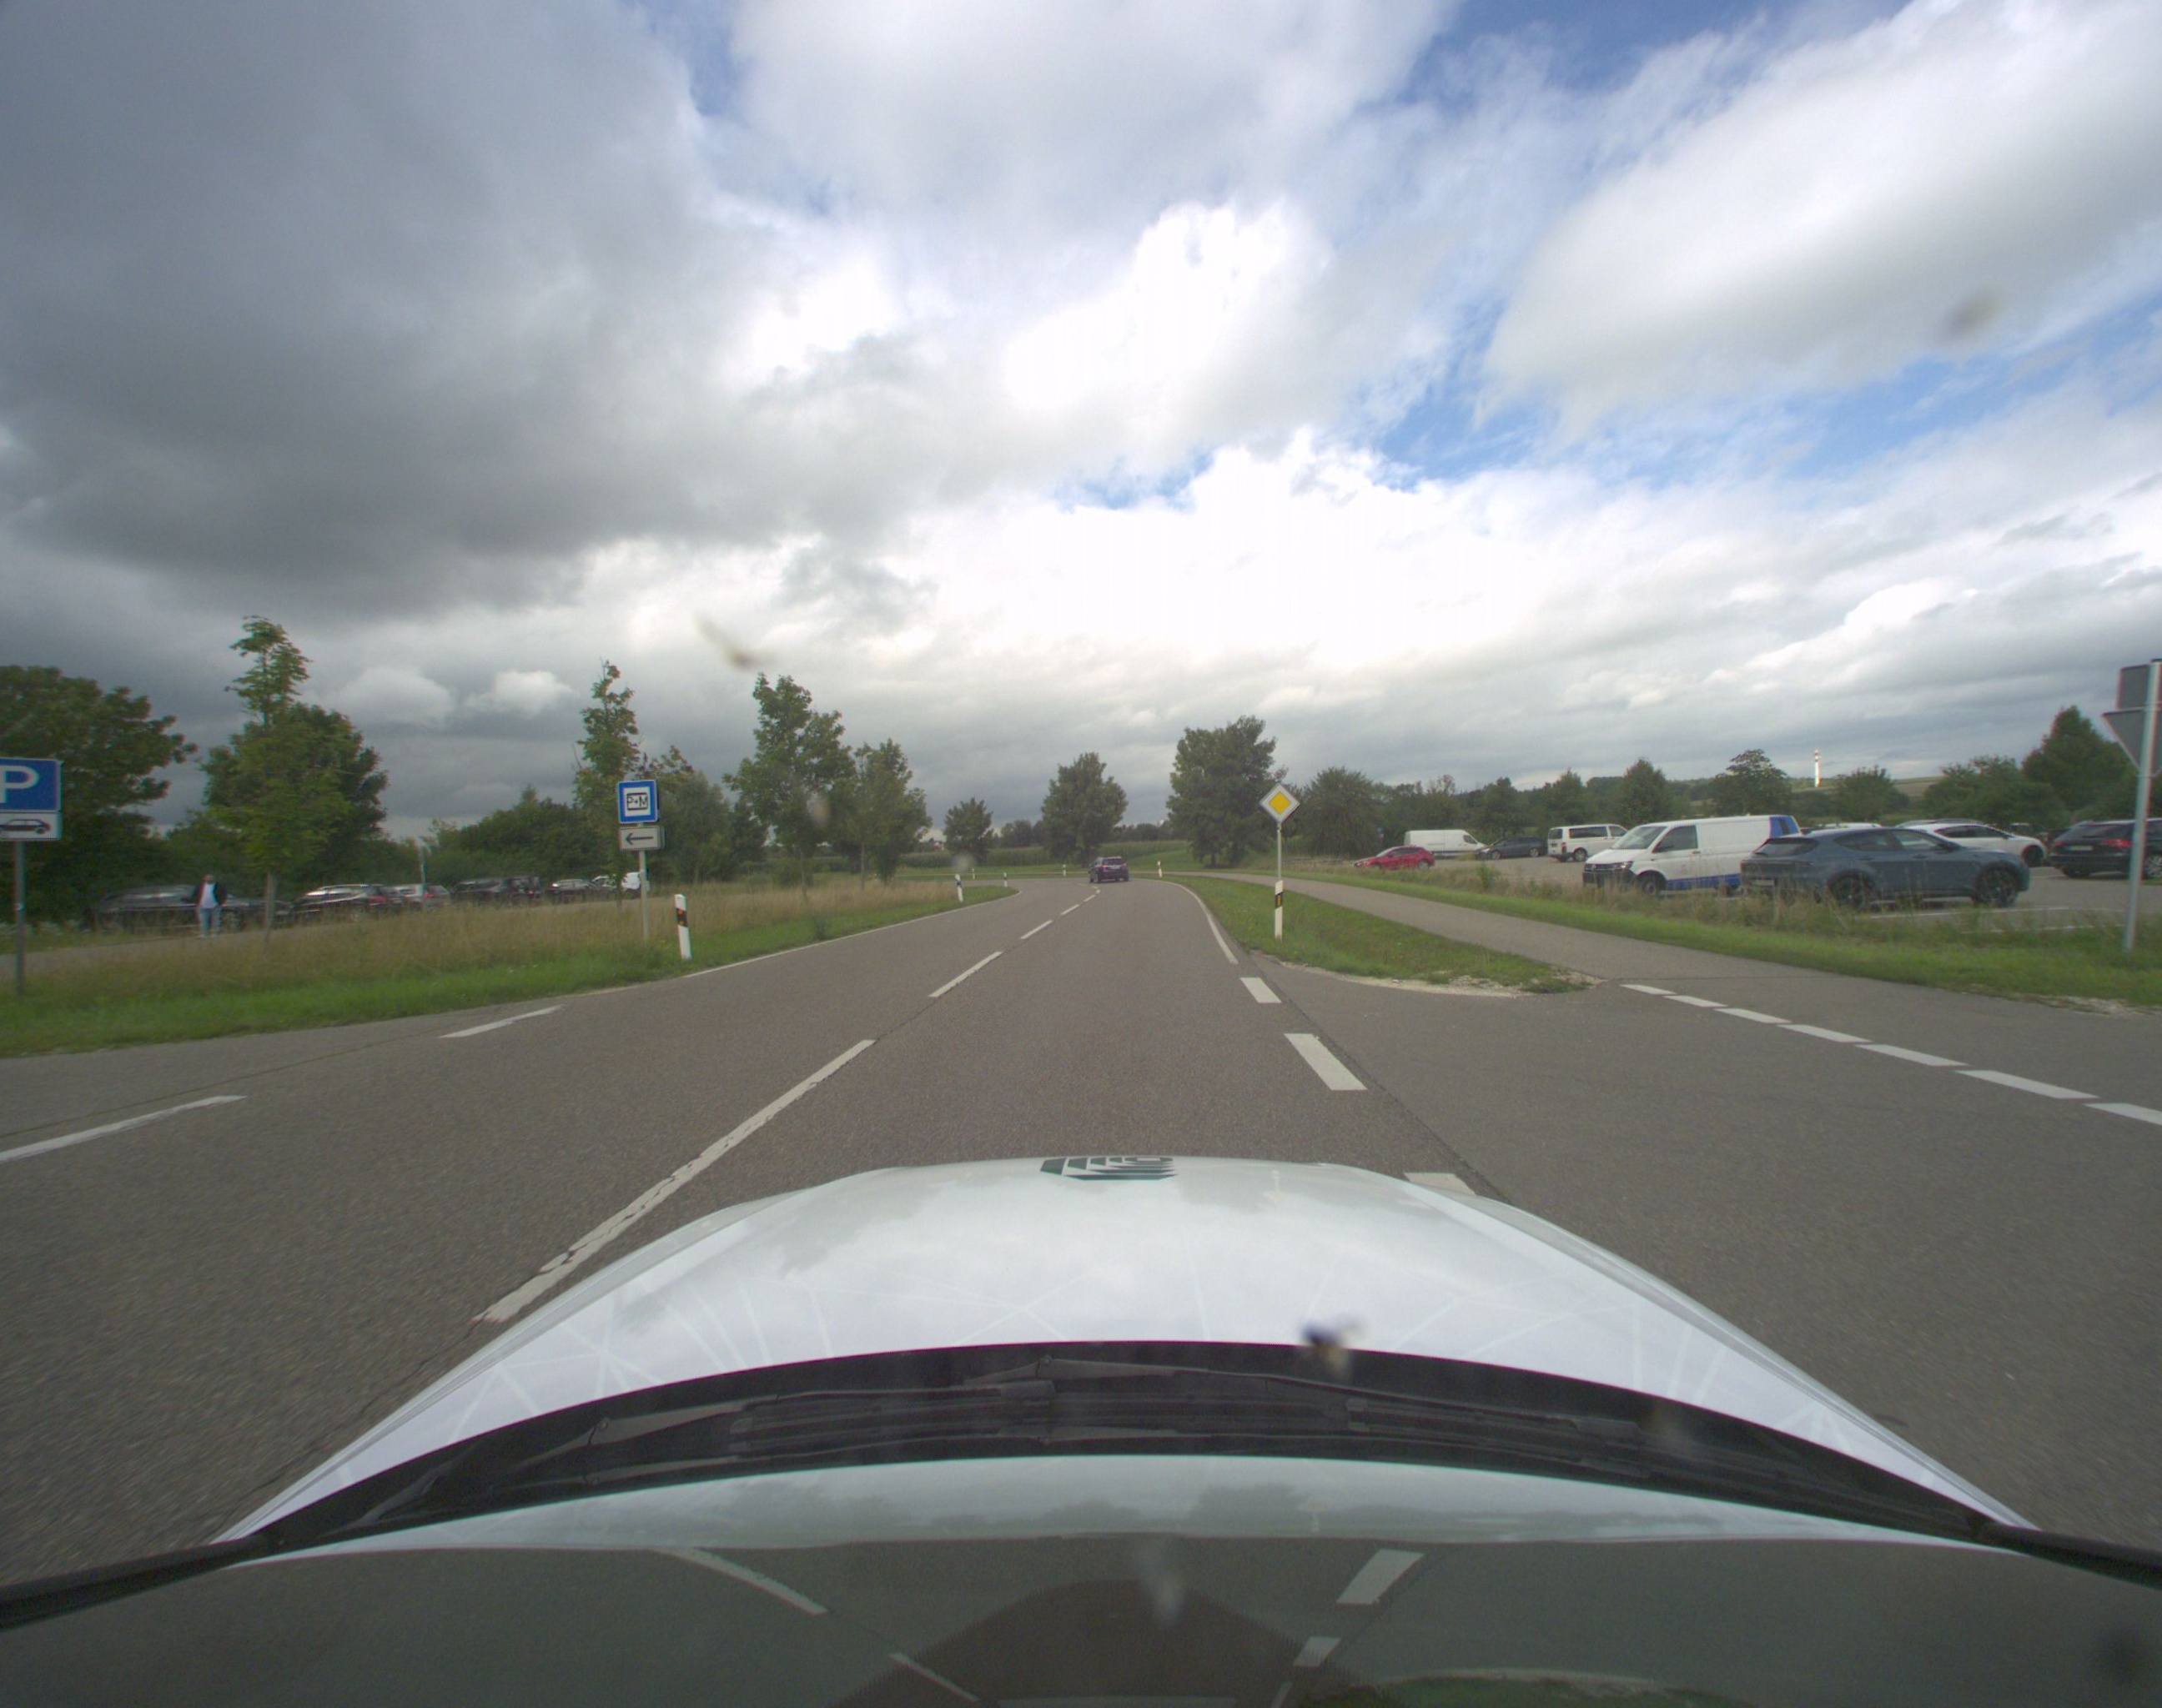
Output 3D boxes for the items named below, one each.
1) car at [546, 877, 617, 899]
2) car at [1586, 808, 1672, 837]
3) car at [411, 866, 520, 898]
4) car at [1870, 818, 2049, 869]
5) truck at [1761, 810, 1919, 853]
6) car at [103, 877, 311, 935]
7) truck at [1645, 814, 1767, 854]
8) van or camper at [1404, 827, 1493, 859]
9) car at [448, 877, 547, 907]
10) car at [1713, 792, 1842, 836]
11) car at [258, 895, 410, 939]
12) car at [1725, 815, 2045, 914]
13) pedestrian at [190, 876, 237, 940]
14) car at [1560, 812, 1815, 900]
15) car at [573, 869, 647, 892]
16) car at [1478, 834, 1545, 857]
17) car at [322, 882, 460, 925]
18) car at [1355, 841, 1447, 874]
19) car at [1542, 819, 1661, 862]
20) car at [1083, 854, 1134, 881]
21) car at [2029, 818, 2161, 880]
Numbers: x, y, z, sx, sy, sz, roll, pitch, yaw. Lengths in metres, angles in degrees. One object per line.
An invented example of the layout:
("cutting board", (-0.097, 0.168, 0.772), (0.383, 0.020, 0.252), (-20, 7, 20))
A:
("car", (-31.903, 2.160, 52.063), (3.604, 1.167, 1.329), (-2, 0, -9))
("car", (33.555, -1.921, 49.924), (3.980, 1.596, 1.997), (-2, 0, -5))
("car", (-30.524, 1.379, 40.518), (4.001, 1.380, 1.466), (-2, 0, -21))
("car", (26.593, -0.313, 24.731), (3.679, 1.391, 1.758), (-2, 0, -3))
("truck", (43.662, -1.201, 47.162), (3.119, 2.218, 6.384), (-2, 0, -1))
("car", (-27.790, 1.617, 26.048), (4.244, 1.566, 1.751), (-2, 0, -12))
("truck", (47.039, -1.453, 61.459), (6.849, 2.715, 2.835), (-2, 0, 4))
("van or camper", (31.965, -0.947, 71.002), (6.709, 2.562, 2.052), (-2, 0, 5))
("car", (-31.154, 1.988, 43.588), (4.000, 1.380, 1.466), (-2, 0, -20))
("car", (28.996, -1.646, 34.007), (3.660, 1.607, 1.767), (-2, 0, 15))
("car", (-28.967, 2.429, 31.704), (3.986, 1.380, 1.818), (-2, 0, -9))
("car", (15.330, 0.192, 15.724), (4.255, 1.566, 1.839), (-3, 0, 2))
("pedestrian", (-23.315, 1.433, 21.891), (0.514, 1.667, 0.659), (-2, 0, -6))
("car", (15.199, 0.055, 20.624), (4.927, 1.974, 1.956), (-2, 0, 2))
("car", (-31.916, 1.755, 55.281), (3.994, 1.380, 1.468), (-2, 0, -15))
("car", (29.063, -0.556, 55.054), (3.609, 1.440, 1.708), (-2, 0, 4))
("car", (-29.763, 2.116, 35.248), (4.238, 1.566, 1.753), (-2, 0, -8))
("car", (17.930, 0.195, 45.769), (4.313, 1.575, 1.972), (-3, 0, 1))
("car", (28.579, -0.734, 44.835), (5.008, 2.000, 2.232), (-3, 0, 1))
("car", (1.537, 0.774, 47.031), (1.845, 1.417, 3.978), (-2, 0, -16))
("car", (26.004, -0.158, 19.863), (3.673, 1.391, 1.731), (-2, 0, 2))
